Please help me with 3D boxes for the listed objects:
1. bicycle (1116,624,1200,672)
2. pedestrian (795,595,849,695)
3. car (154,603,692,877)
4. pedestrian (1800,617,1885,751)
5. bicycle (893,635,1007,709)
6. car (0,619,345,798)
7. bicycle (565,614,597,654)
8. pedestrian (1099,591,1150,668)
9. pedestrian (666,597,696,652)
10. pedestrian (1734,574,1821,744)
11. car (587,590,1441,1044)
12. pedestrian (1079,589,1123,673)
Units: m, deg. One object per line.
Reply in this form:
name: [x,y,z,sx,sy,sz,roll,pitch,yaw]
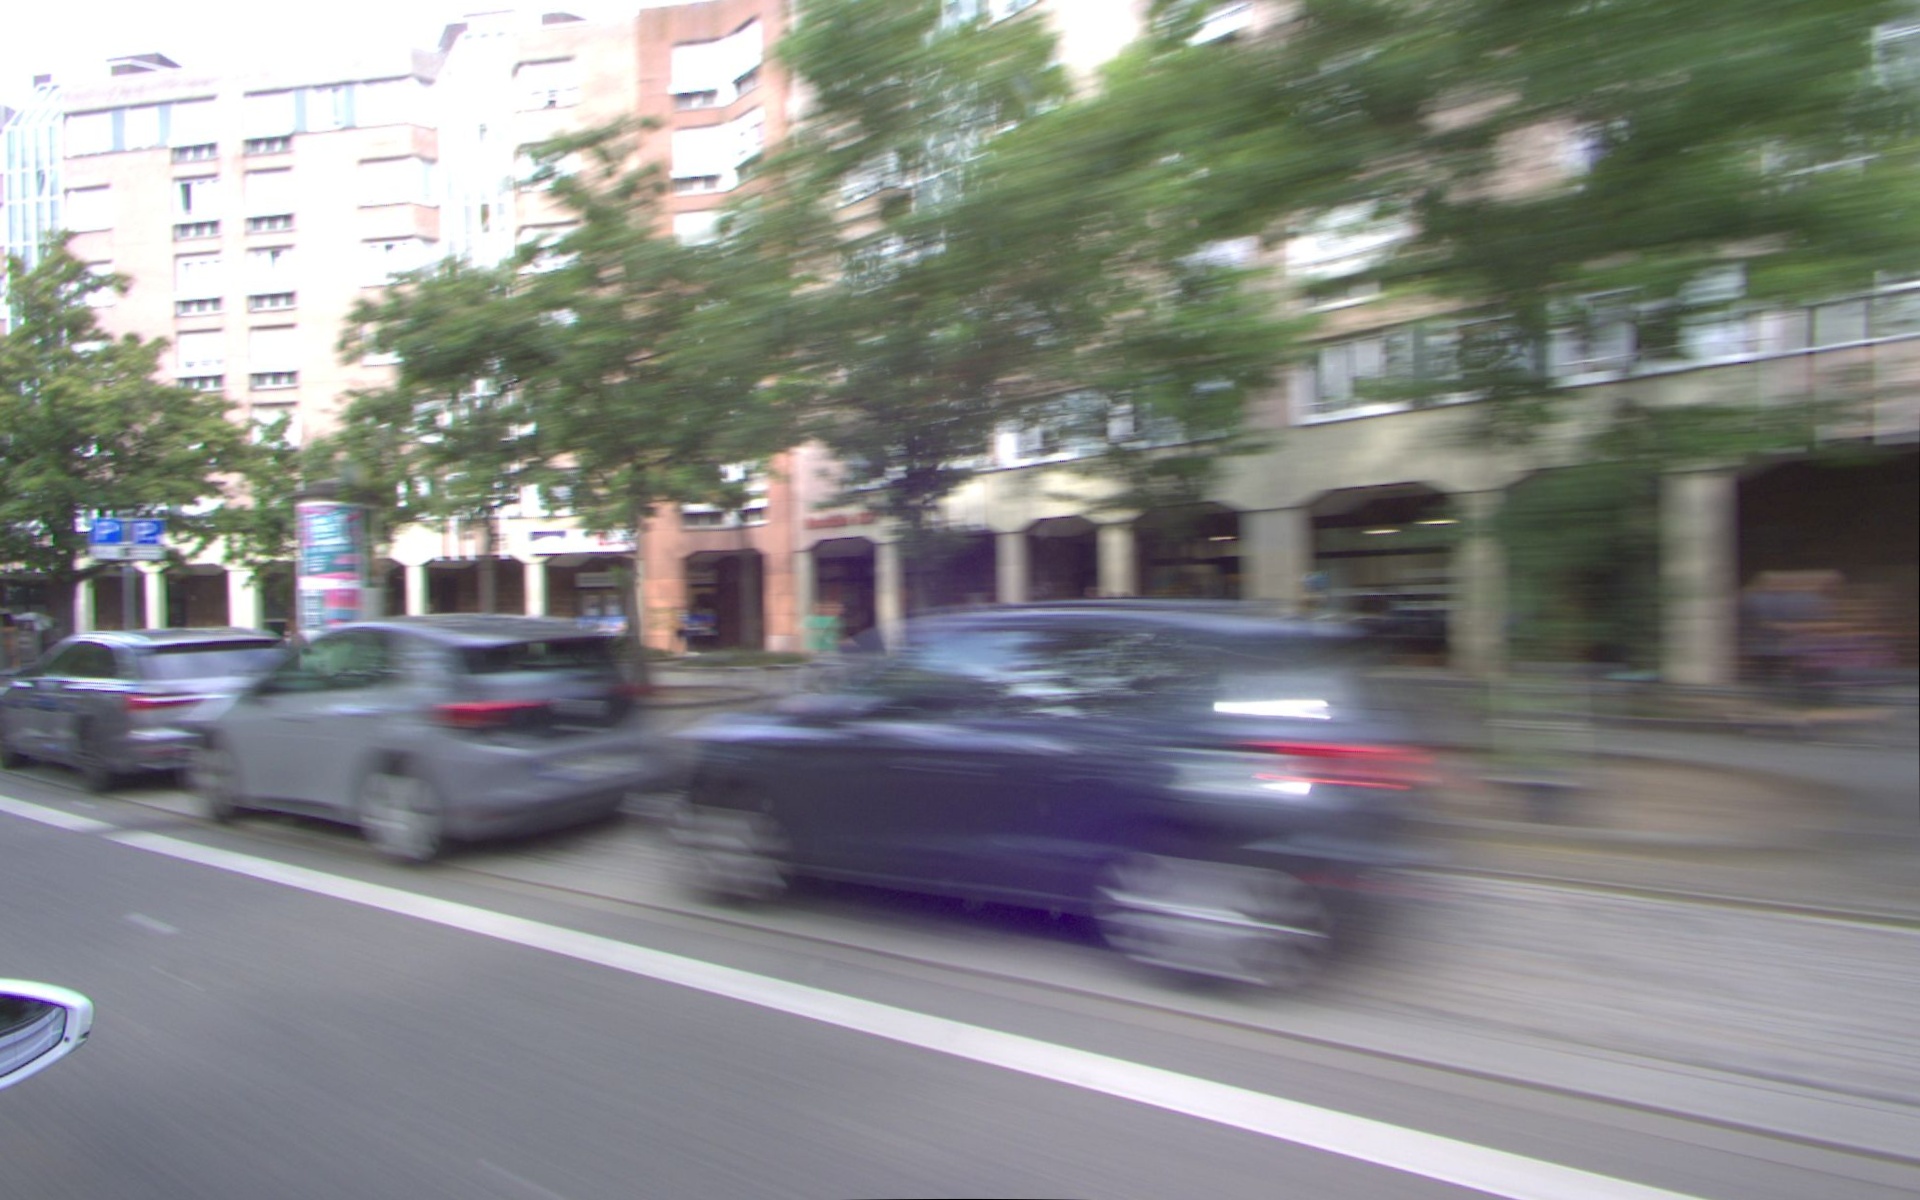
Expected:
bicycle: [4.392,1.046,22.335,1.840,1.026,0.483,-1,0,41]
pedestrian: [-2.298,0.737,16.645,0.674,1.607,0.602,0,0,41]
car: [-4.215,0.824,7.643,4.339,1.539,1.735,-1,1,33]
pedestrian: [8.155,0.753,9.259,0.510,1.192,0.455,0,0,-30]
bicycle: [-0.177,1.038,14.858,1.840,1.026,0.483,-1,0,41]
car: [-8.547,0.963,10.538,4.602,1.462,1.811,-1,1,35]
bicycle: [-11.082,0.966,29.340,0.586,1.127,1.962,-1,-1,-13]
pedestrian: [3.473,0.608,21.156,0.791,1.576,0.705,0,1,45]
pedestrian: [-8.644,0.753,31.044,0.842,1.684,0.530,0,0,44]
pedestrian: [7.919,0.554,9.706,0.509,1.590,0.478,0,0,-23]
car: [0.149,0.761,5.240,4.142,1.539,1.711,-1,2,31]
pedestrian: [2.895,0.637,20.589,0.674,1.684,0.602,0,0,42]
